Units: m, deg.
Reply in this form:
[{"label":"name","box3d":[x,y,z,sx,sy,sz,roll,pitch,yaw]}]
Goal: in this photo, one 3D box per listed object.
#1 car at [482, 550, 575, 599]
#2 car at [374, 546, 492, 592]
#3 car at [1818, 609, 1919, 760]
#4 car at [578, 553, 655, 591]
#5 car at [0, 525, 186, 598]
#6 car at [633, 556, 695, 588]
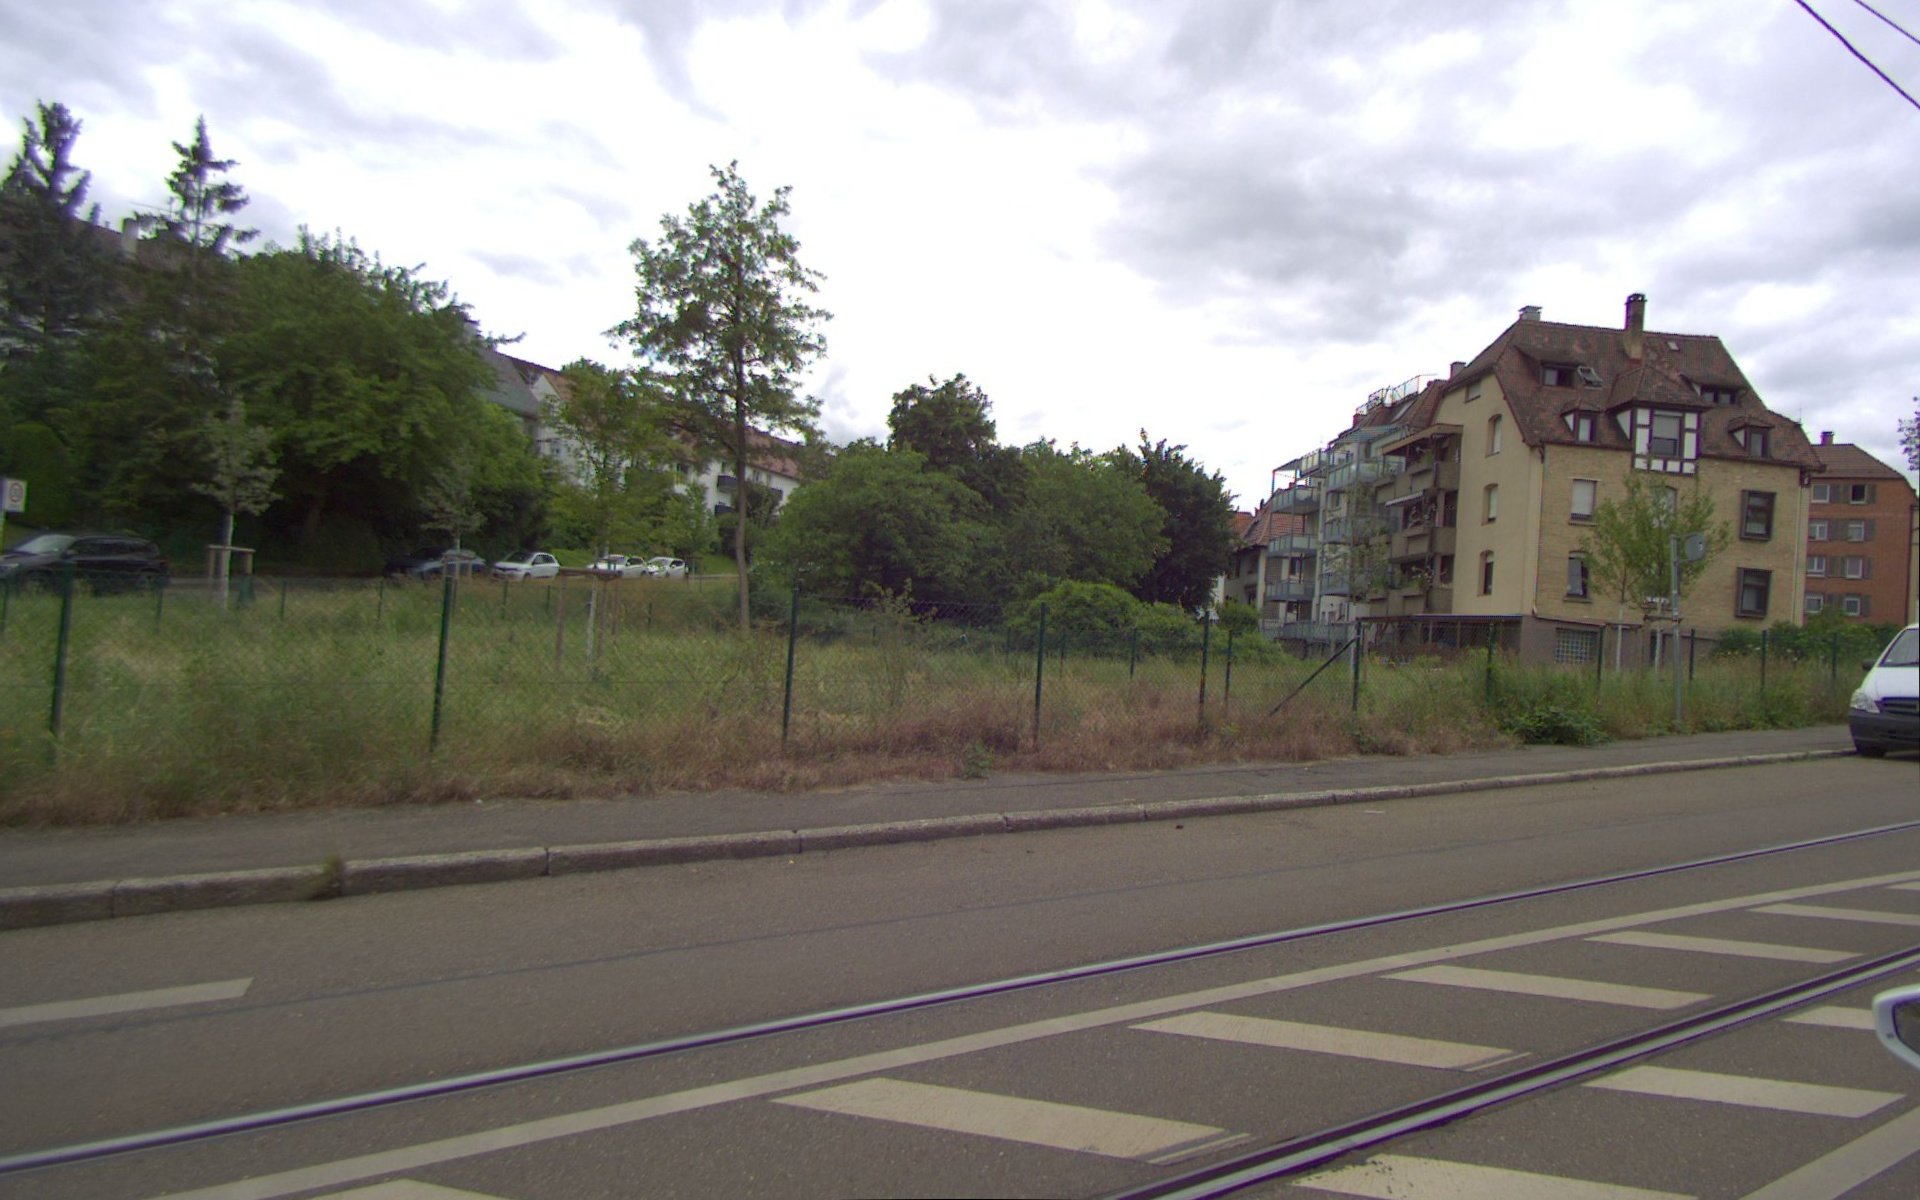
[{"label":"car","box3d":[-20.018,-1.123,46.779,1.942,2.040,4.135,3,0,11]},{"label":"car","box3d":[-20.892,-1.197,40.047,1.942,1.531,4.135,3,0,12]},{"label":"car","box3d":[14.260,1.180,13.964,4.827,1.906,2.027,3,-4,-30]},{"label":"car","box3d":[-18.578,-1.483,54.548,1.863,1.812,4.487,3,0,12]},{"label":"car","box3d":[-23.046,-1.037,26.125,1.937,1.713,4.452,3,3,10]},{"label":"car","box3d":[-17.608,-1.659,59.945,1.800,1.680,4.135,3,0,12]}]
